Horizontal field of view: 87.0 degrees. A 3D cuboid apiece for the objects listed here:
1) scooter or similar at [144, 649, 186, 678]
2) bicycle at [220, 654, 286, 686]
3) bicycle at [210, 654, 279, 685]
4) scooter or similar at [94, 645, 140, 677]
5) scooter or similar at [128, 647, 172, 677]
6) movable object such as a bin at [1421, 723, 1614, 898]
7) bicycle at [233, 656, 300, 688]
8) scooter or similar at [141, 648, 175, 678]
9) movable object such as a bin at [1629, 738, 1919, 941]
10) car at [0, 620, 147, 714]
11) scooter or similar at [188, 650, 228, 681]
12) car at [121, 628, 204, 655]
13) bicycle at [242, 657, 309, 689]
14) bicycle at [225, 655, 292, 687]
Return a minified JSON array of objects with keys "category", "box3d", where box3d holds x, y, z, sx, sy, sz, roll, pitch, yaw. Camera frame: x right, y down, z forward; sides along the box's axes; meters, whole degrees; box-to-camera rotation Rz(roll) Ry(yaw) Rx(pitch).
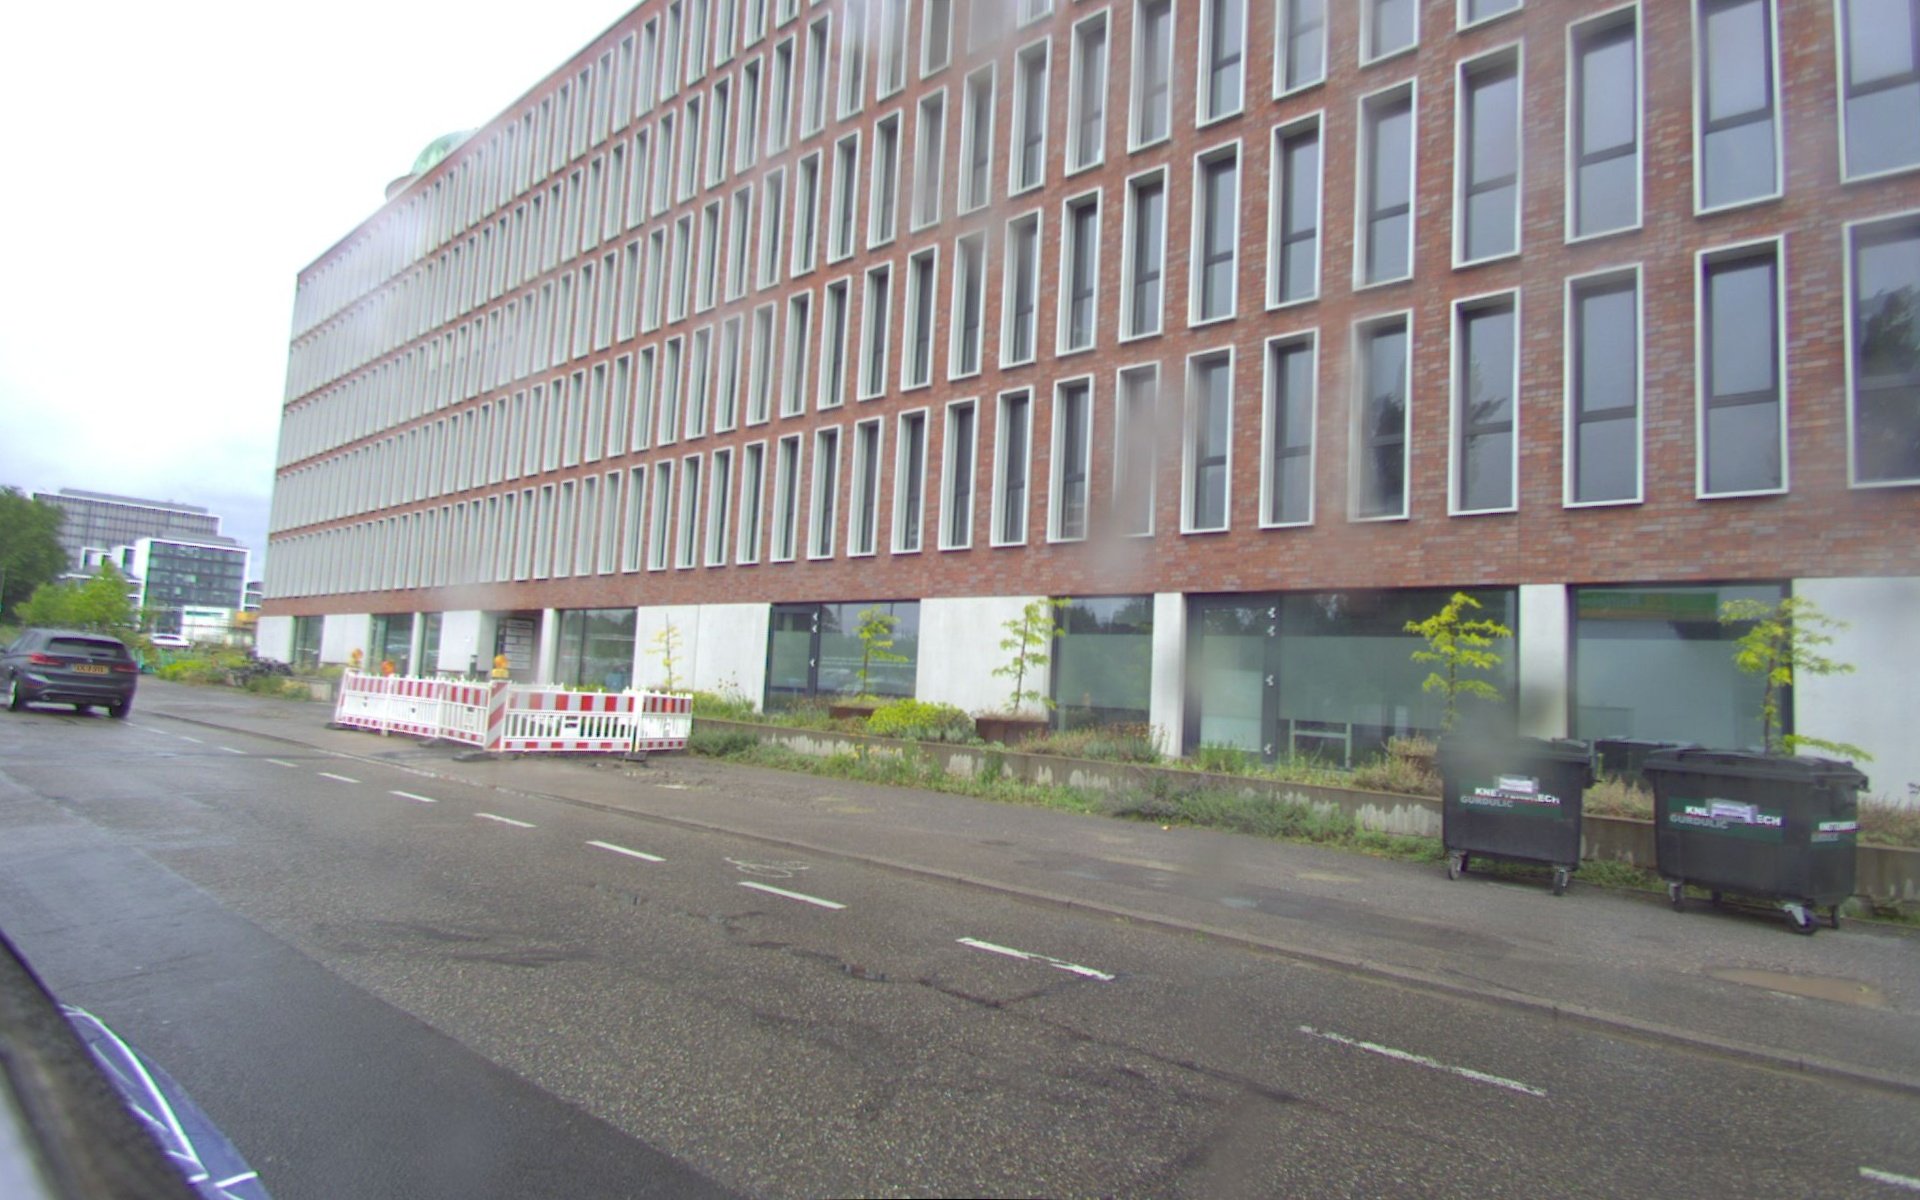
[{"category":"scooter or similar","box3d":[-35.574,2.866,45.311,0.467,1.186,1.301,-2,-8,45]},{"category":"bicycle","box3d":[-25.937,2.582,37.151,0.544,1.085,1.841,0,-5,38]},{"category":"bicycle","box3d":[-26.592,2.587,37.636,0.620,1.085,1.929,0,-5,38]},{"category":"scooter or similar","box3d":[-35.549,2.581,42.685,1.298,1.239,0.469,6,-6,-21]},{"category":"scooter or similar","box3d":[-35.091,2.698,43.857,0.465,1.186,1.308,1,-7,27]},{"category":"movable object such as a bin","box3d":[5.075,1.825,9.194,1.444,1.318,1.285,0,-6,33]},{"category":"bicycle","box3d":[-24.797,2.583,36.201,0.544,1.085,1.841,0,-5,38]},{"category":"scooter or similar","box3d":[-34.319,2.712,43.325,0.460,1.239,1.210,5,-6,-8]},{"category":"movable object such as a bin","box3d":[6.515,1.835,8.116,1.355,1.318,1.453,6,-6,-29]},{"category":"car","box3d":[-18.003,1.295,20.063,4.141,1.580,1.744,-1,-8,36]},{"category":"scooter or similar","box3d":[-31.589,2.757,42.516,1.212,1.217,0.418,9,-8,-43]},{"category":"car","box3d":[-60.110,3.156,76.346,1.997,1.653,4.480,0,-6,37]},{"category":"bicycle","box3d":[-24.127,2.578,35.699,0.544,1.085,1.841,0,-5,38]},{"category":"bicycle","box3d":[-25.445,2.579,36.741,0.544,1.085,1.841,0,-5,38]}]
